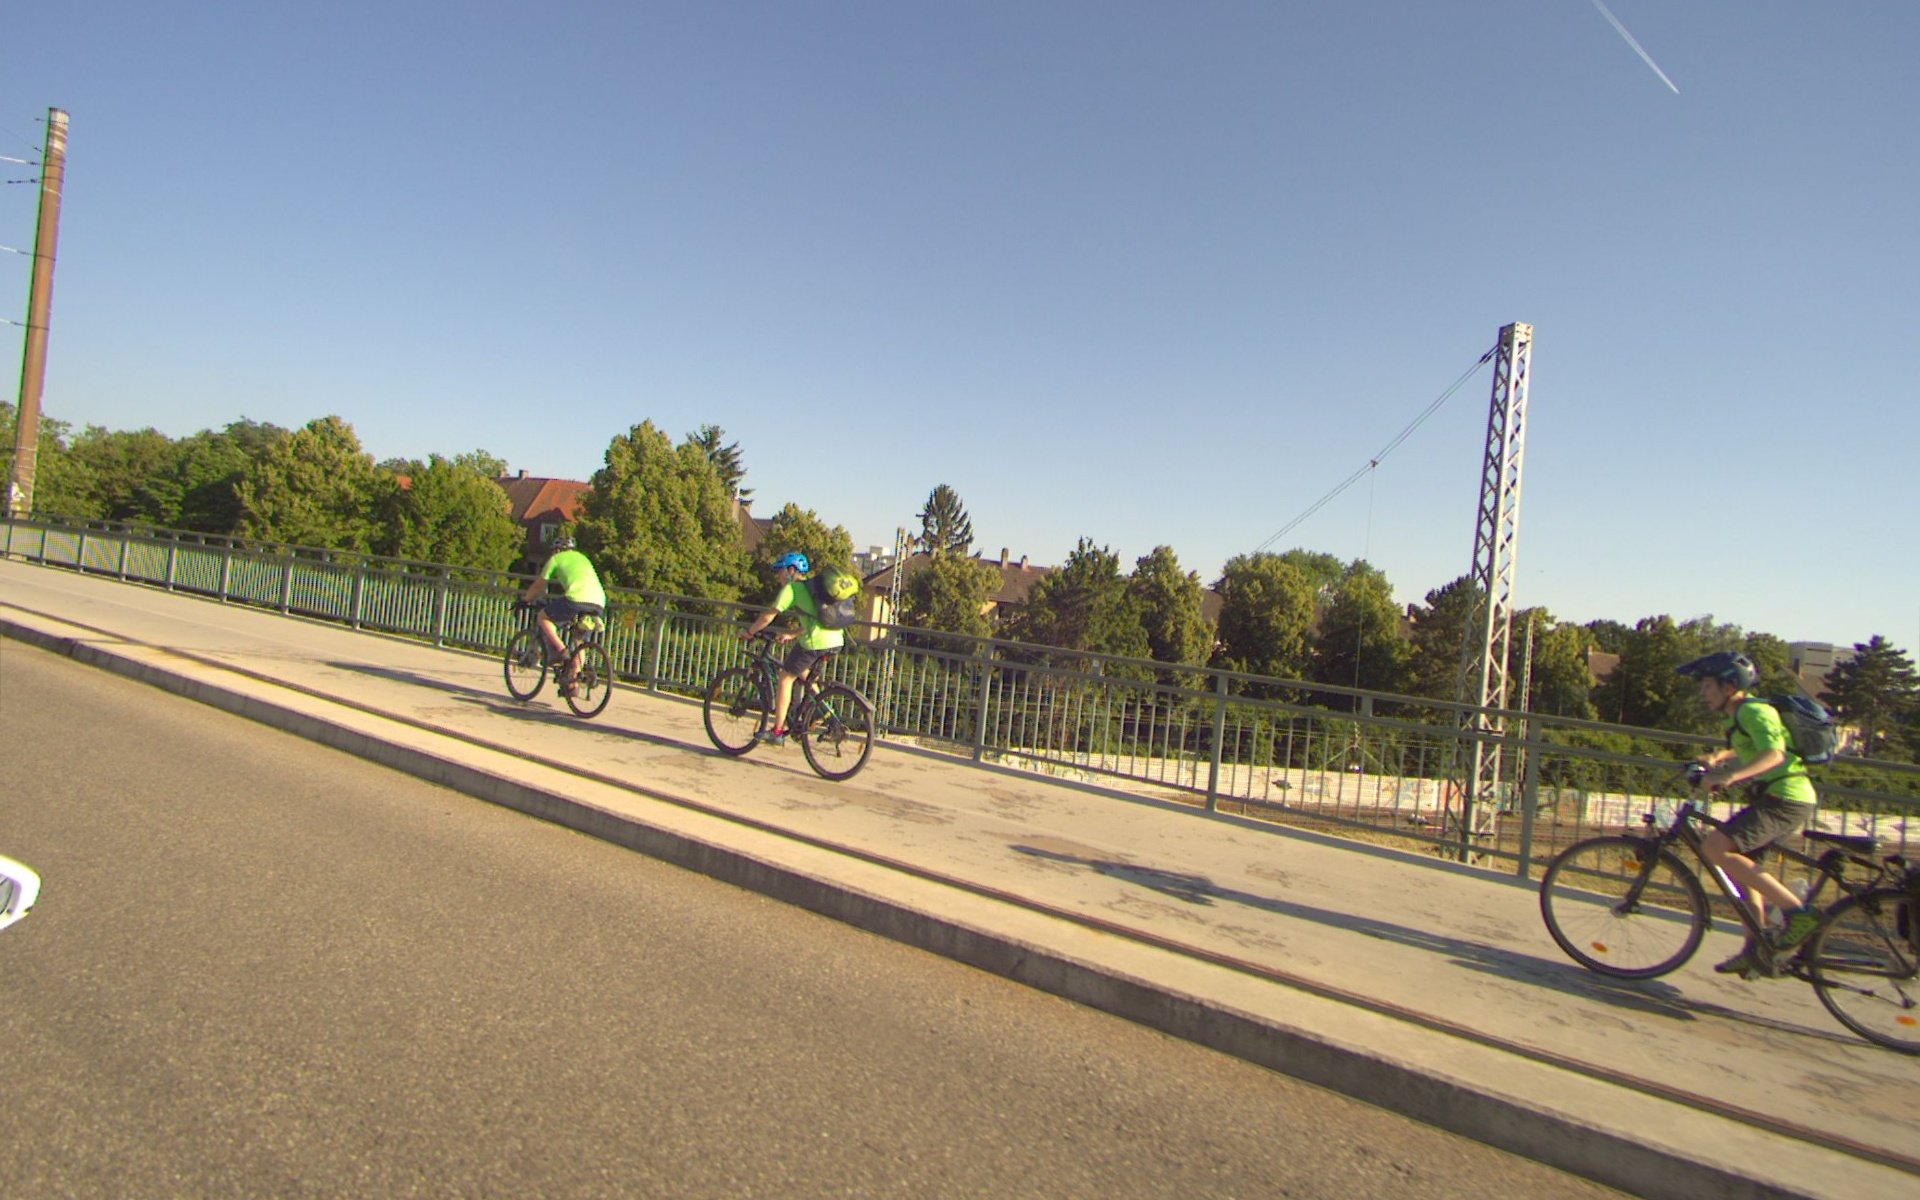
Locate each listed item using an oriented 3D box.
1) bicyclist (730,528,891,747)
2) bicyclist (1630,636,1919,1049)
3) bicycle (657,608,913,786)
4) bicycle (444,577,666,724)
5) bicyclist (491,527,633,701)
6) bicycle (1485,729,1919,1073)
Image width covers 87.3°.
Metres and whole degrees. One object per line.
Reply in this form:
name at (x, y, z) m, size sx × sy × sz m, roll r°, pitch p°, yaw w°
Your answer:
bicyclist at (-1.185, 0.291, 8.009) m, size 0.915 × 1.611 × 0.626 m, roll 5°, pitch -2°, yaw 32°
bicyclist at (3.753, 1.029, 4.661) m, size 0.881 × 1.581 × 0.813 m, roll 7°, pitch -1°, yaw 31°
bicycle at (-1.438, 0.738, 8.082) m, size 2.008 × 1.135 × 0.626 m, roll 5°, pitch -2°, yaw 32°
bicycle at (-3.922, 0.462, 9.673) m, size 2.221 × 1.135 × 0.626 m, roll 6°, pitch -2°, yaw 30°
bicyclist at (-3.805, 0.138, 9.633) m, size 0.989 × 1.526 × 0.626 m, roll 6°, pitch -1°, yaw 29°
bicycle at (3.737, 1.349, 4.654) m, size 2.179 × 1.135 × 0.685 m, roll 7°, pitch -1°, yaw 32°
